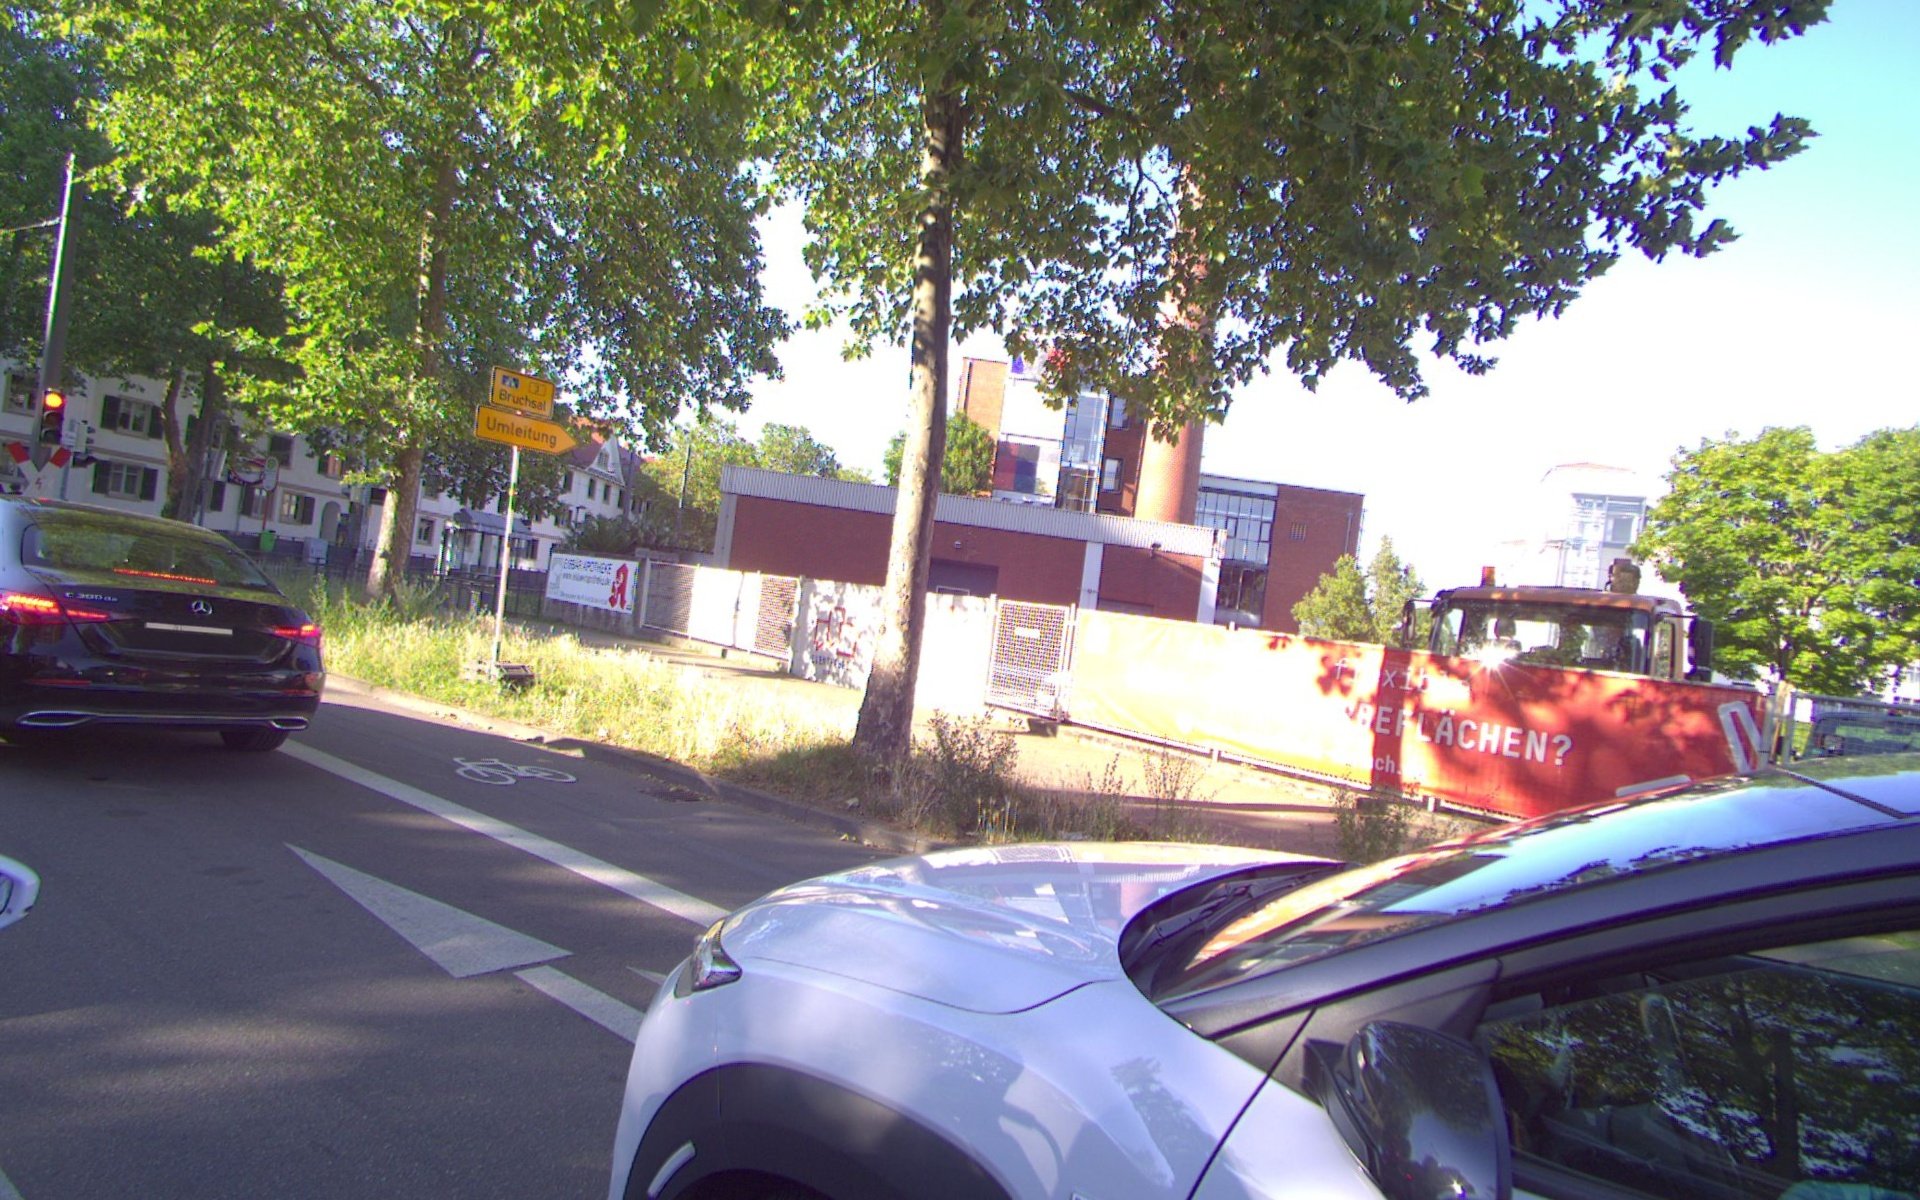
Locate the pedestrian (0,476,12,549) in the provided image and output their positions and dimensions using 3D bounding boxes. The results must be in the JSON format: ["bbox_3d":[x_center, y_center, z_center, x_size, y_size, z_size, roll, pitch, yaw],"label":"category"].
[{"bbox_3d":[-26.118,-2.397,26.918,0.825,1.940,0.707,7,-1,28],"label":"pedestrian"}]

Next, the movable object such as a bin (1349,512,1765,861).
[{"bbox_3d":[7.645,1.034,12.413,3.172,3.084,6.266,6,-2,41],"label":"movable object such as a bin"}]

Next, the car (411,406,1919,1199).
[{"bbox_3d":[1.272,0.832,1.398,3.901,1.616,1.893,9,-1,33],"label":"car"}]

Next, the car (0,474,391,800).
[{"bbox_3d":[-5.960,0.027,6.716,4.310,1.508,1.892,9,-1,34],"label":"car"}]

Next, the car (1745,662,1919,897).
[{"bbox_3d":[9.574,1.824,10.156,2.016,1.849,4.583,6,-3,44],"label":"car"}]

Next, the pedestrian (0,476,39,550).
[{"bbox_3d":[-26.521,-2.433,28.138,0.825,1.940,0.707,7,-1,28],"label":"pedestrian"}]
